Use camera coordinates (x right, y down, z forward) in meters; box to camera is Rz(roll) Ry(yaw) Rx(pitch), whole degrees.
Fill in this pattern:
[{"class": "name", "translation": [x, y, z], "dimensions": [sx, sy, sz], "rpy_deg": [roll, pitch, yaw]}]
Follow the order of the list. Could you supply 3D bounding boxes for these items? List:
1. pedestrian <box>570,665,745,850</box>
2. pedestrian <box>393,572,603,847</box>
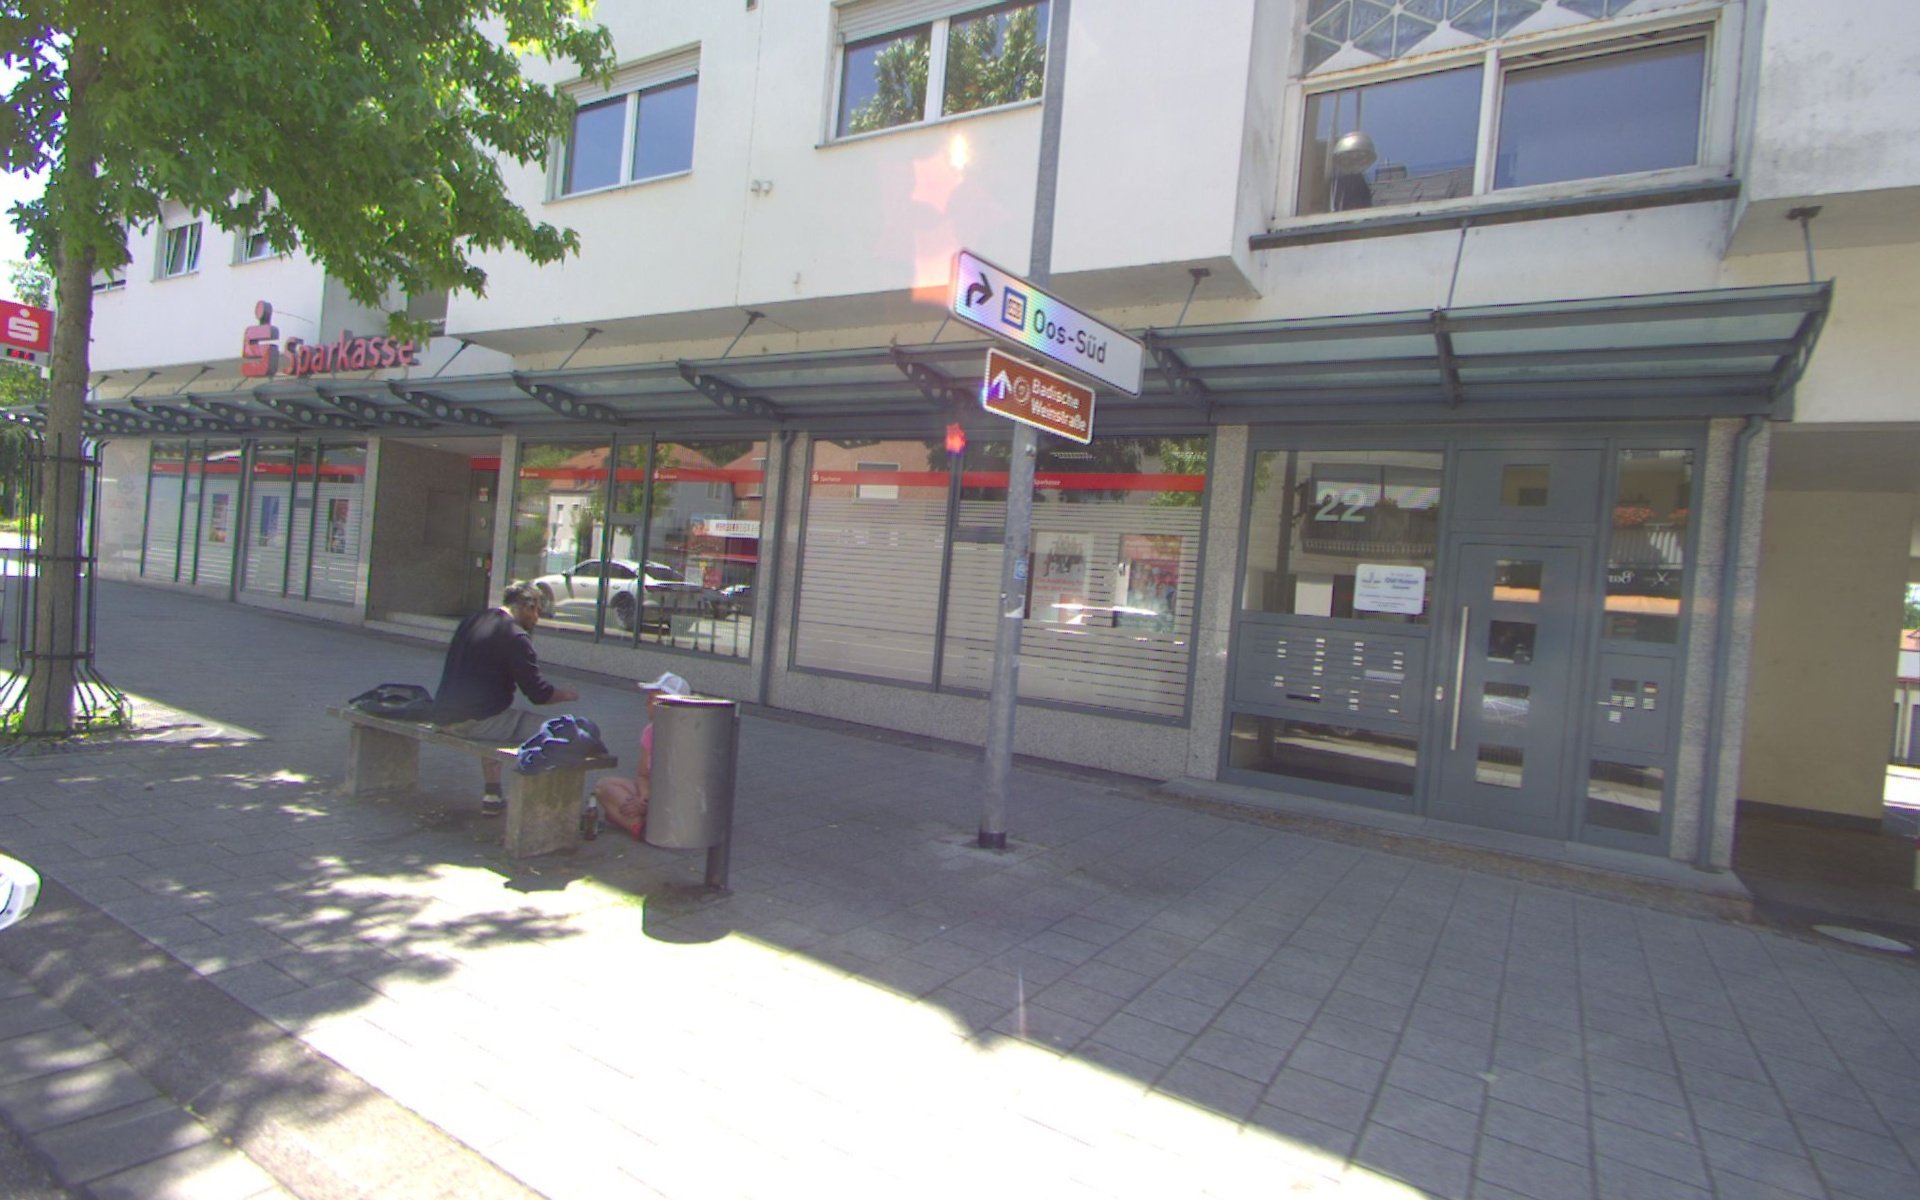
[{"class": "pedestrian", "translation": [-1.618, 0.812, 5.389], "dimensions": [0.675, 0.863, 0.531], "rpy_deg": [4, 1, -44]}, {"class": "pedestrian", "translation": [-2.346, 0.531, 5.120], "dimensions": [0.757, 1.256, 0.531], "rpy_deg": [4, 1, -44]}]
